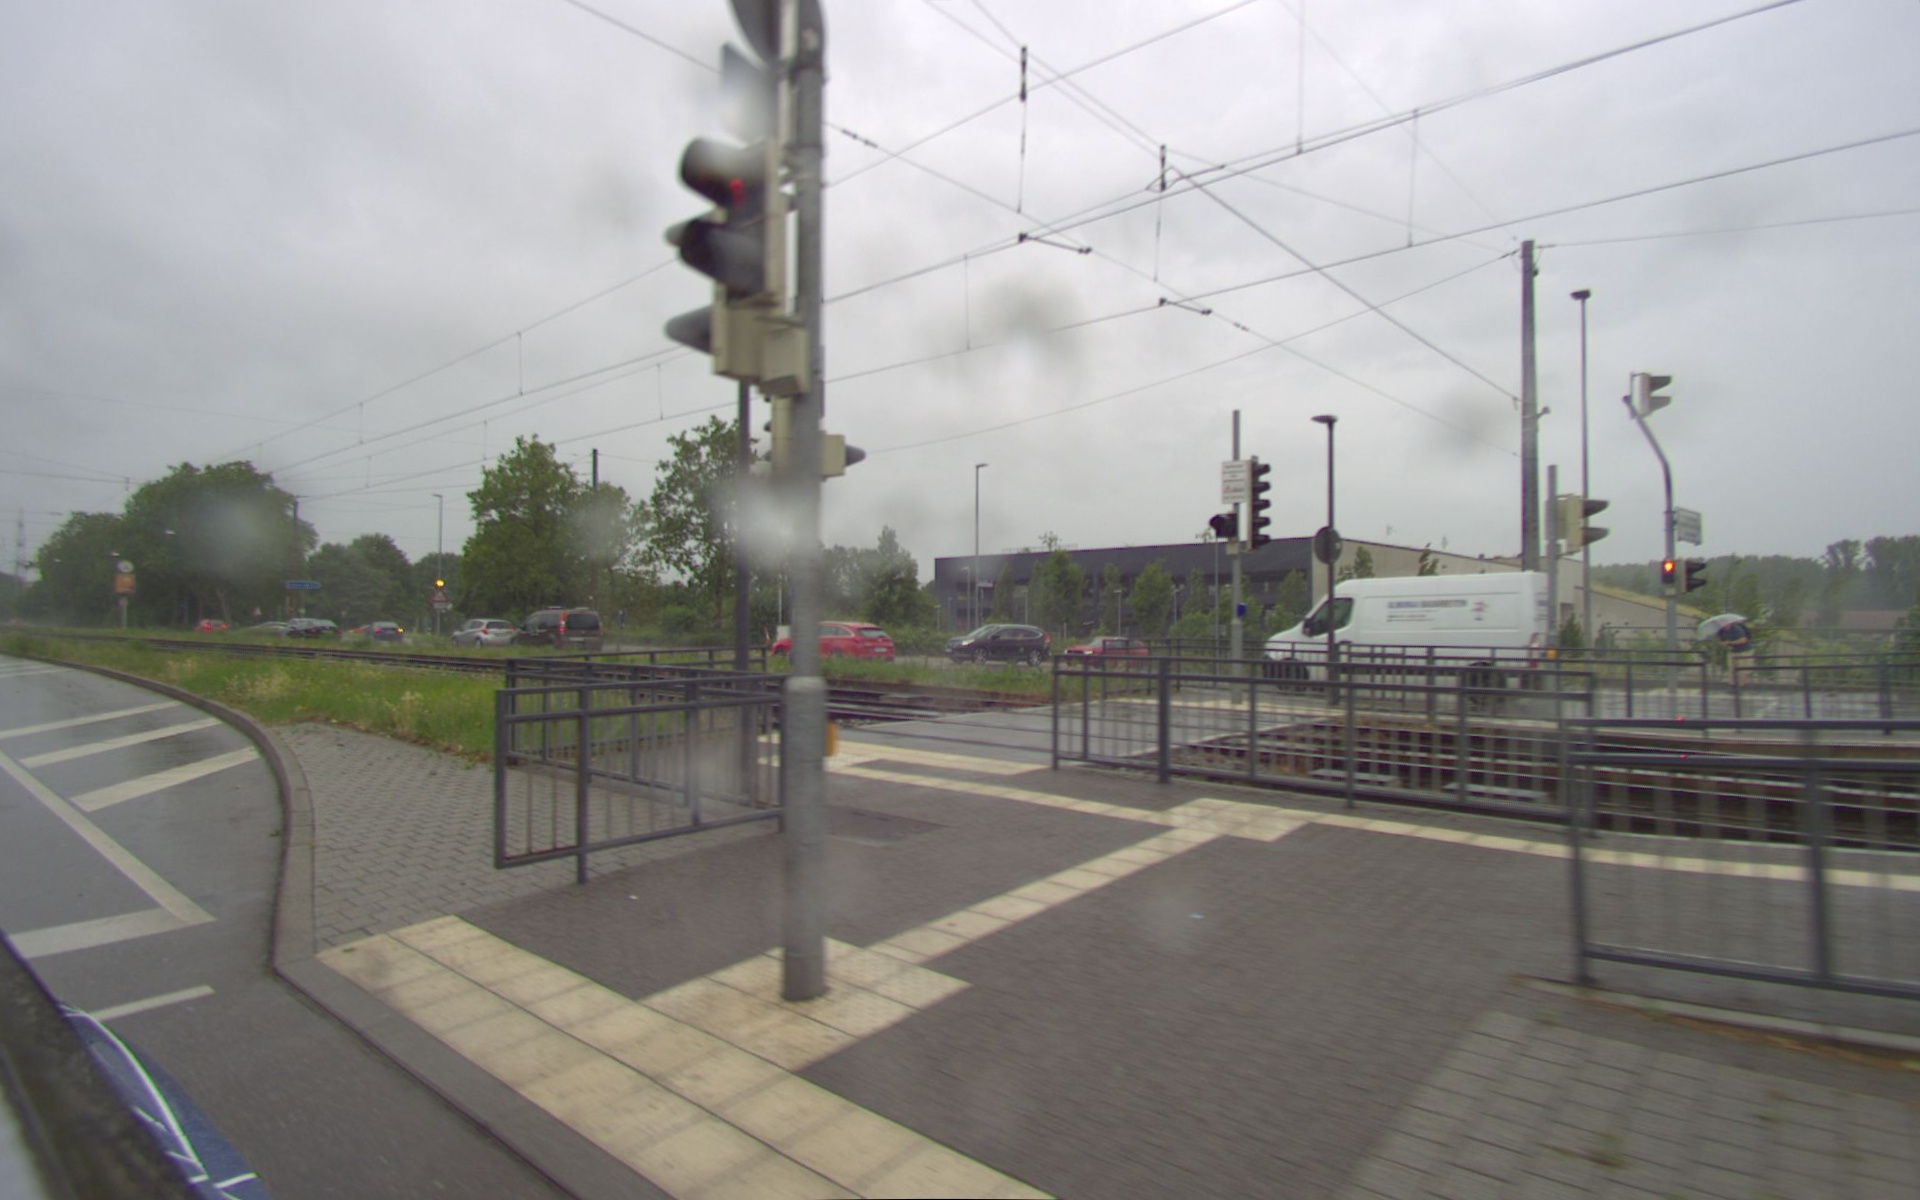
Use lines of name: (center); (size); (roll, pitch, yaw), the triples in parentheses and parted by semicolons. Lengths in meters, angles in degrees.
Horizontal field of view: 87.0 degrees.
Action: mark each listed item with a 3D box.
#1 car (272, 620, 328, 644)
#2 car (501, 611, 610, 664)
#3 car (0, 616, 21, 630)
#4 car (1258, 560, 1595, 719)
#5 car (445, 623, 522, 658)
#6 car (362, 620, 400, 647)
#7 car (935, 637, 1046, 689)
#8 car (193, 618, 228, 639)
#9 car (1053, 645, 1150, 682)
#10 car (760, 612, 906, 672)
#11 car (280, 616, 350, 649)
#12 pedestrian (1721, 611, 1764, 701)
car: (-43.228, 2.071, 66.221); (4.296, 1.497, 1.973); (-1, -1, 41)
car: (-14.623, 1.319, 36.512); (4.256, 1.785, 1.972); (-1, -1, 42)
car: (-141.951, 3.437, 151.144); (4.515, 2.029, 1.951); (-1, -1, 39)
car: (9.110, 0.718, 20.182); (5.736, 2.733, 2.097); (-1, -1, 42)
car: (-23.225, 1.944, 49.286); (4.092, 1.608, 1.972); (-1, -1, 42)
car: (-39.198, 2.237, 68.457); (1.966, 1.694, 4.551); (0, -1, -33)
car: (1.203, 2.457, 40.178); (3.931, 1.874, 2.006); (0, -1, -28)
car: (-59.440, 2.265, 80.252); (3.618, 1.602, 1.585); (0, 0, 42)
car: (6.285, 2.751, 44.641); (4.307, 1.453, 2.002); (2, -2, -43)
car: (-4.013, 1.241, 31.477); (4.623, 1.720, 1.972); (-1, -1, 42)
car: (-34.518, 1.721, 54.120); (4.379, 1.608, 1.972); (-1, -5, 42)
pedestrian: (18.027, 1.268, 23.313); (0.696, 2.029, 0.691); (-1, -1, 42)
